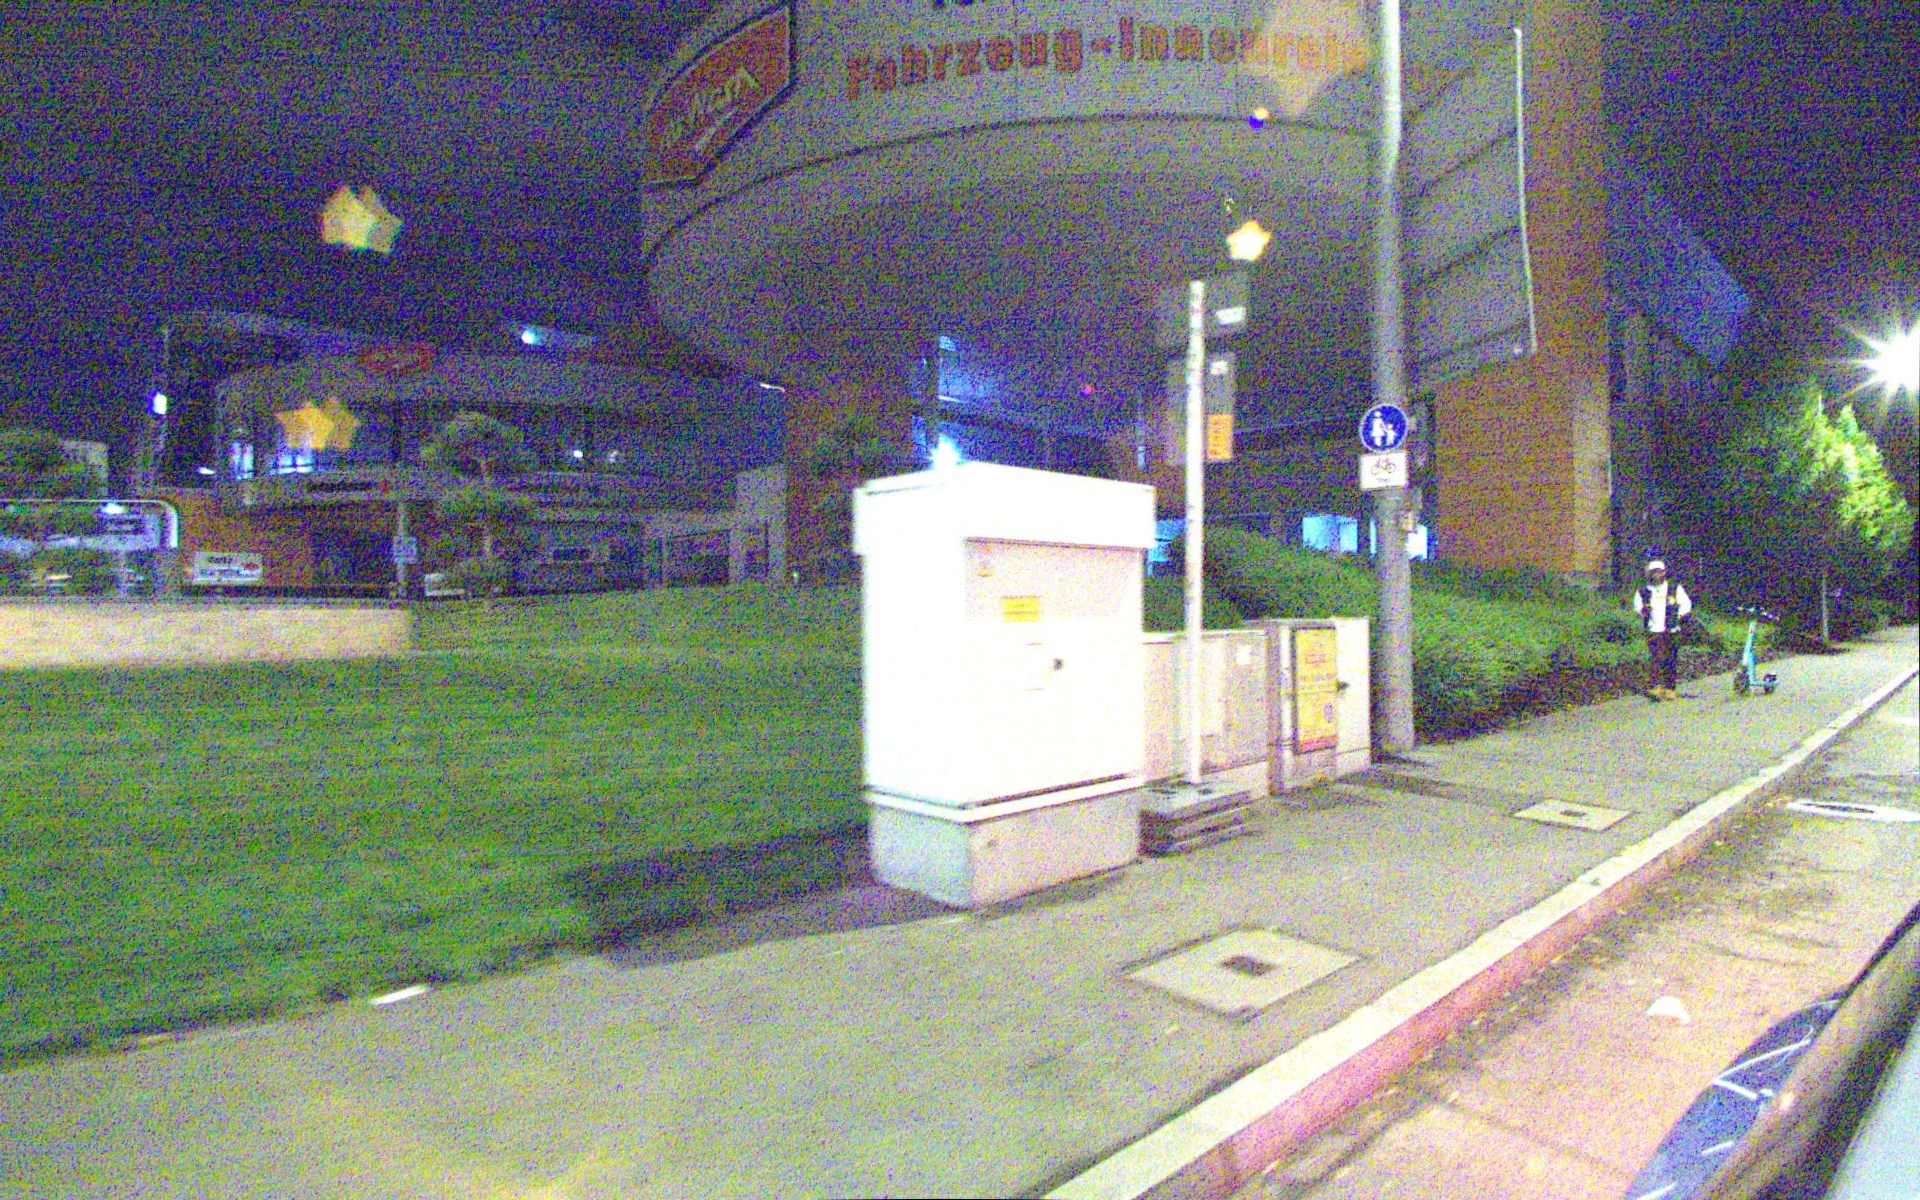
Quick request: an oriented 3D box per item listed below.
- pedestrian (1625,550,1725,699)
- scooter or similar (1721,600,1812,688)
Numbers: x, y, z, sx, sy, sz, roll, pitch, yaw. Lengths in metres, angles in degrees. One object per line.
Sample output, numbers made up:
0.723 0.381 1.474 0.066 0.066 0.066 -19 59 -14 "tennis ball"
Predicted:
9.554 0.293 13.524 1.016 1.888 0.819 0 2 -41 "pedestrian"
11.523 0.623 14.467 1.111 1.217 0.470 1 -1 -17 "scooter or similar"
